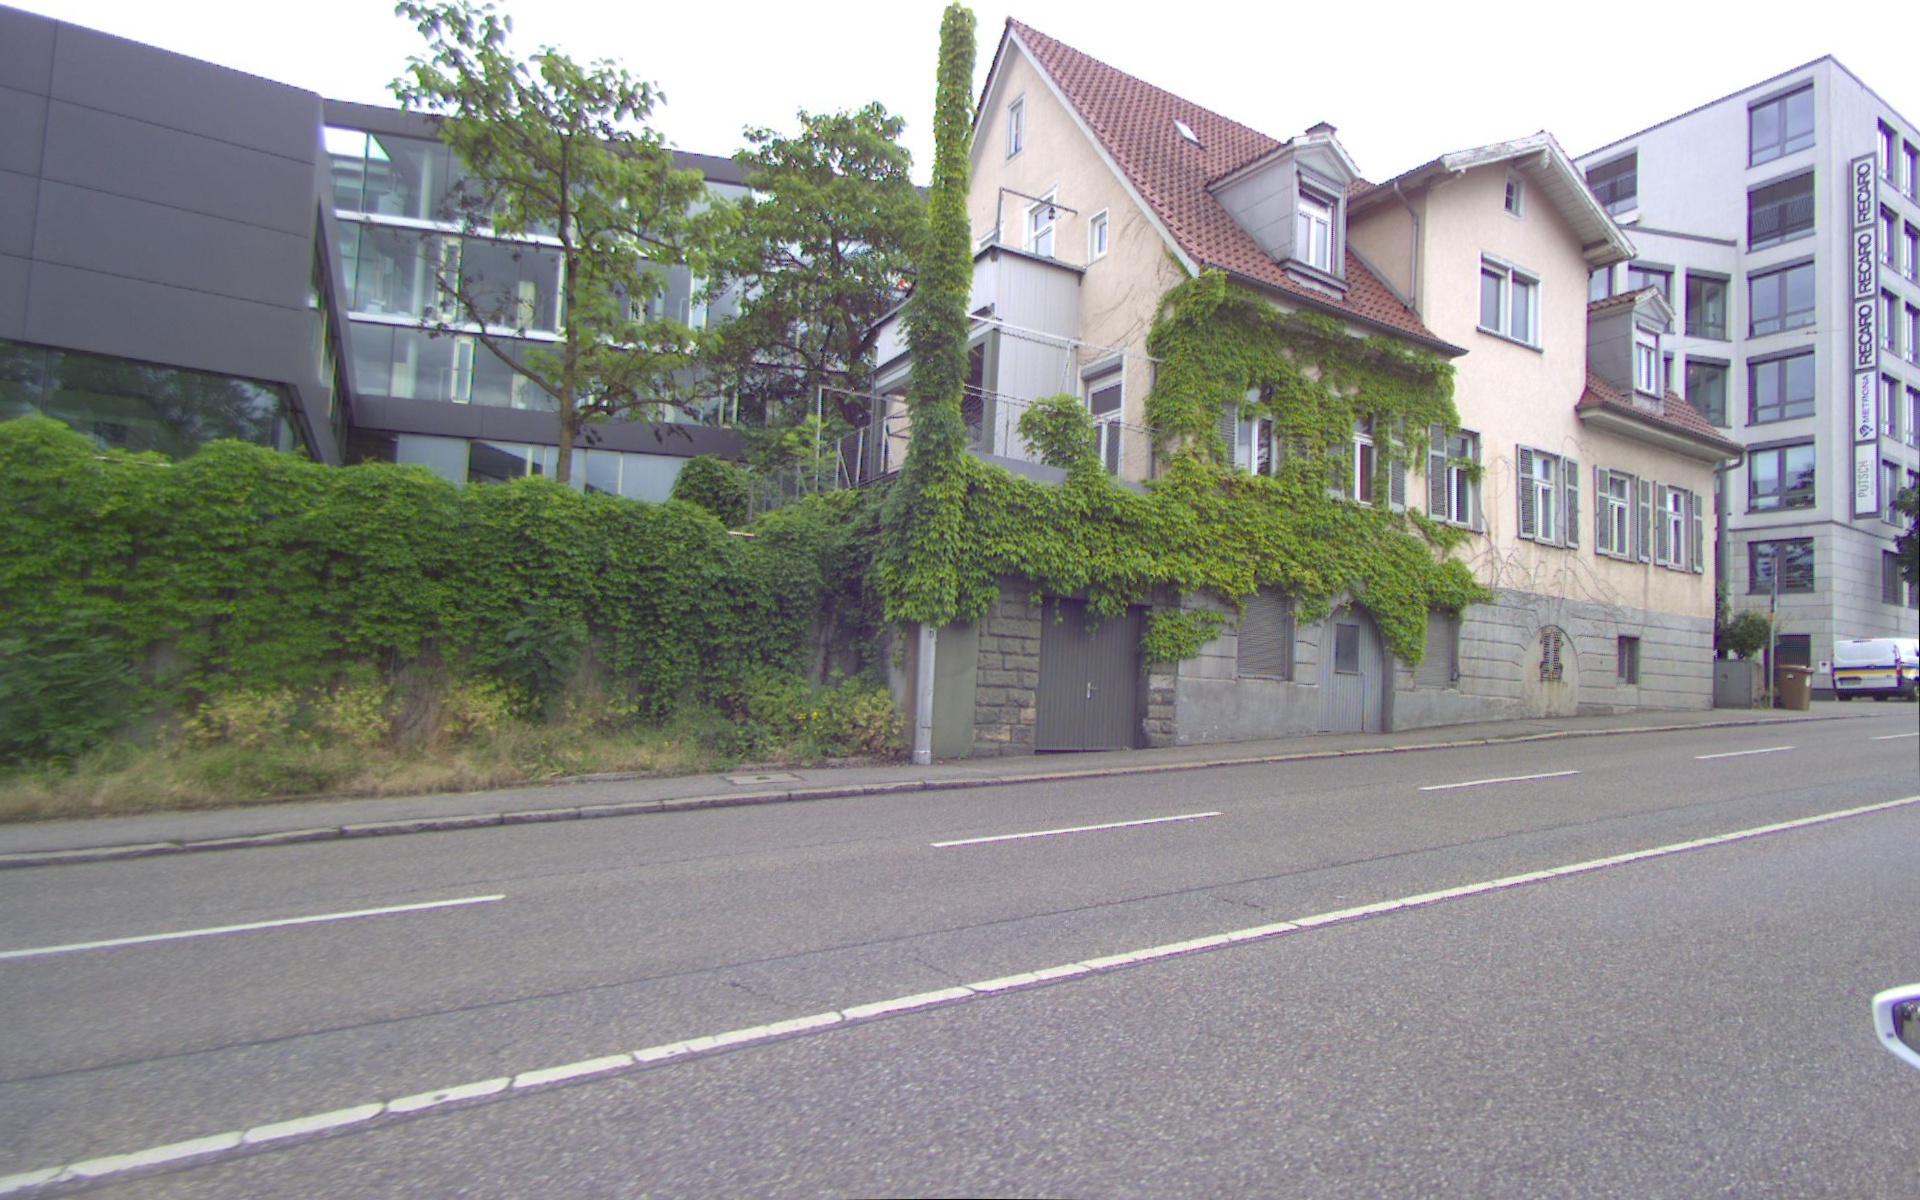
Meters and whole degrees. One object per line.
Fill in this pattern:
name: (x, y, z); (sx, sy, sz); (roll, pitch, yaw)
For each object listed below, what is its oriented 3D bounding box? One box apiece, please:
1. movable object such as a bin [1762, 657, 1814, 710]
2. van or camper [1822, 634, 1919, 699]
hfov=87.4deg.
movable object such as a bin: (20.275, 2.022, 24.595); (0.692, 1.205, 0.804); (2, 1, -36)
van or camper: (30.398, 2.187, 32.828); (4.821, 1.993, 2.049); (2, -5, -33)
